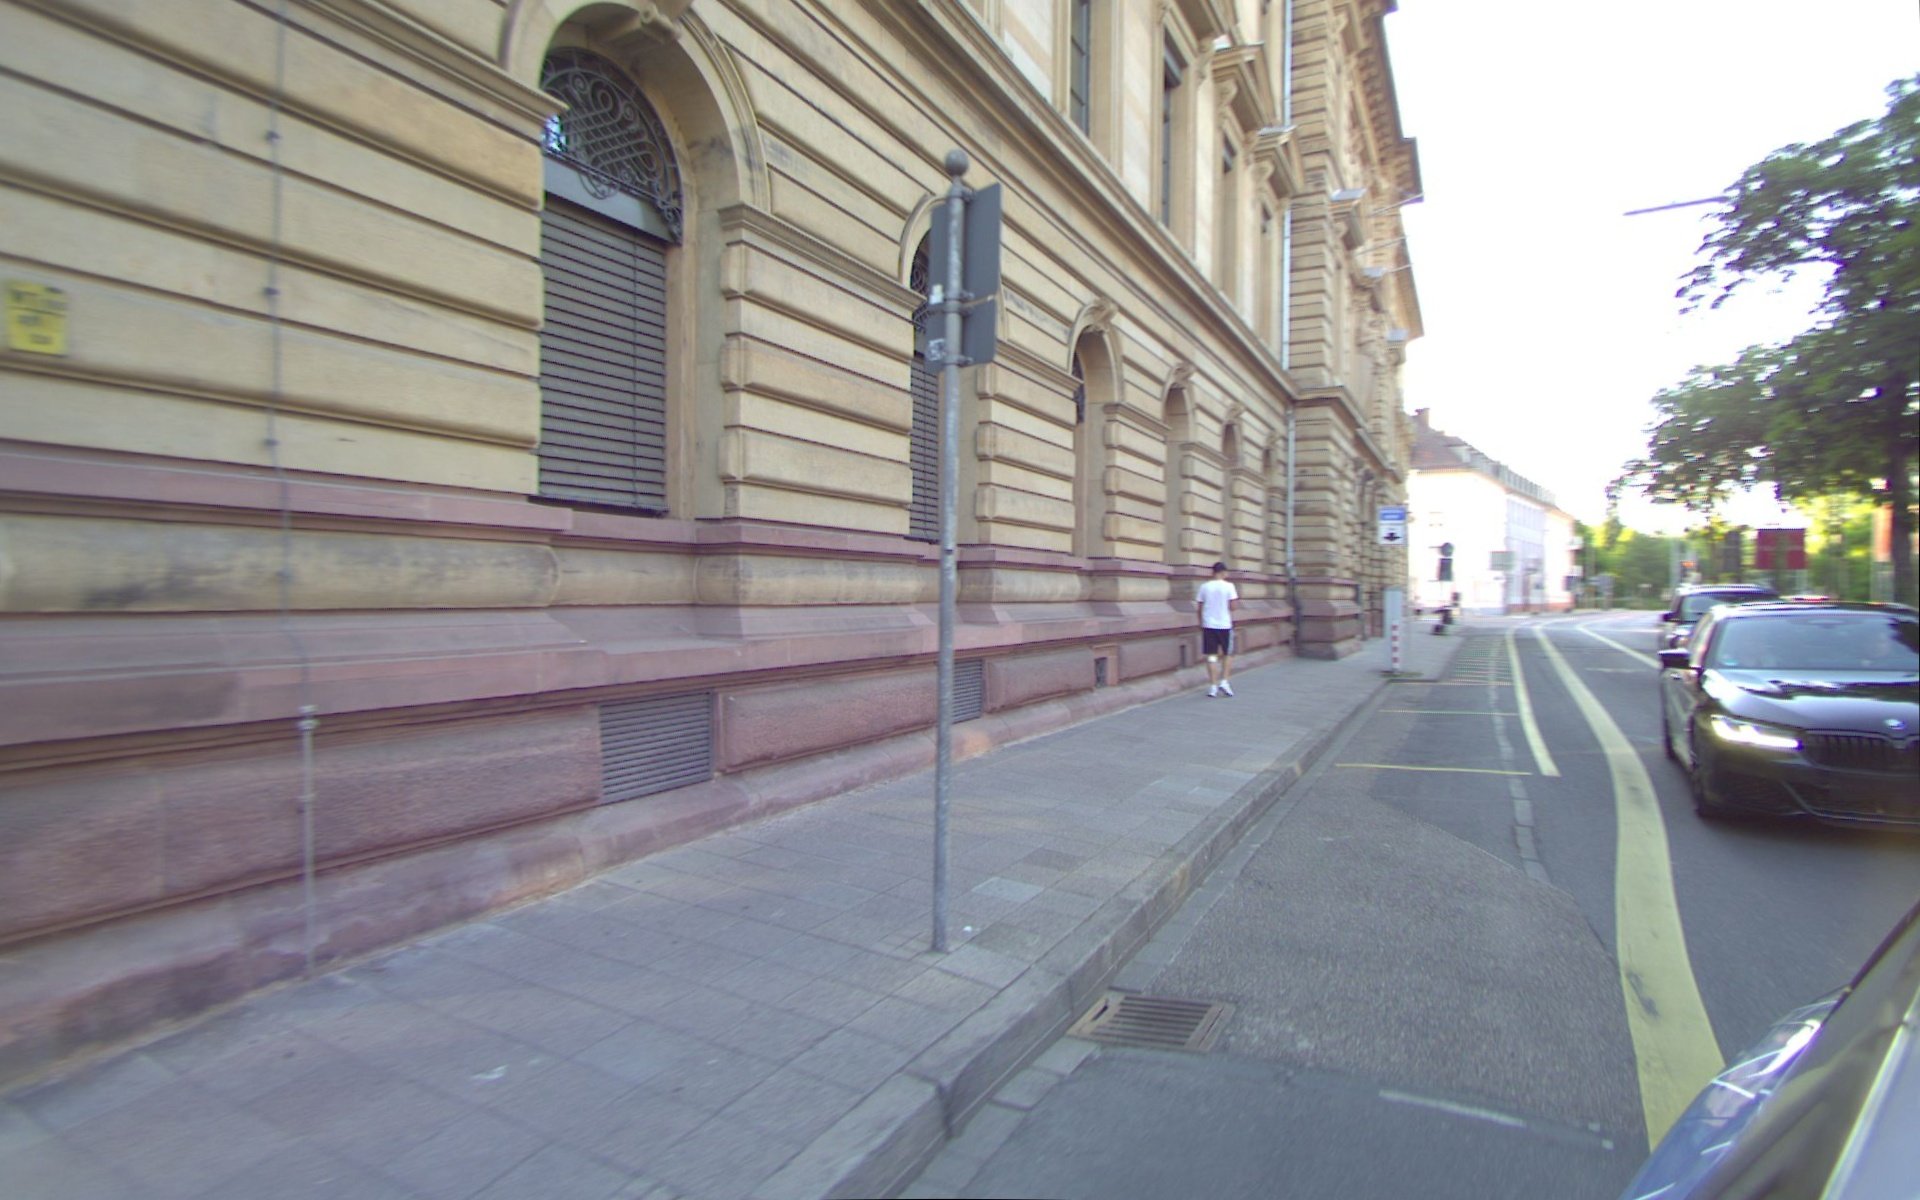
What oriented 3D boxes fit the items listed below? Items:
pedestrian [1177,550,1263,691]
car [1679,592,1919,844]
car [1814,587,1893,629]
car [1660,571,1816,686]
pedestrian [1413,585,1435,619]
[{"bbox_3d":[3.476,0.265,13.499,0.814,1.788,1.025,-1,-1,34],"label":"pedestrian"},{"bbox_3d":[6.729,0.653,7.684,1.952,1.404,4.723,0,1,34],"label":"car"},{"bbox_3d":[35.511,0.306,40.204,4.046,1.567,1.848,0,1,-41],"label":"car"},{"bbox_3d":[13.099,0.410,17.262,1.827,1.705,4.171,-1,0,34],"label":"car"},{"bbox_3d":[28.004,0.101,61.078,0.976,2.039,0.787,1,0,-36],"label":"pedestrian"}]
